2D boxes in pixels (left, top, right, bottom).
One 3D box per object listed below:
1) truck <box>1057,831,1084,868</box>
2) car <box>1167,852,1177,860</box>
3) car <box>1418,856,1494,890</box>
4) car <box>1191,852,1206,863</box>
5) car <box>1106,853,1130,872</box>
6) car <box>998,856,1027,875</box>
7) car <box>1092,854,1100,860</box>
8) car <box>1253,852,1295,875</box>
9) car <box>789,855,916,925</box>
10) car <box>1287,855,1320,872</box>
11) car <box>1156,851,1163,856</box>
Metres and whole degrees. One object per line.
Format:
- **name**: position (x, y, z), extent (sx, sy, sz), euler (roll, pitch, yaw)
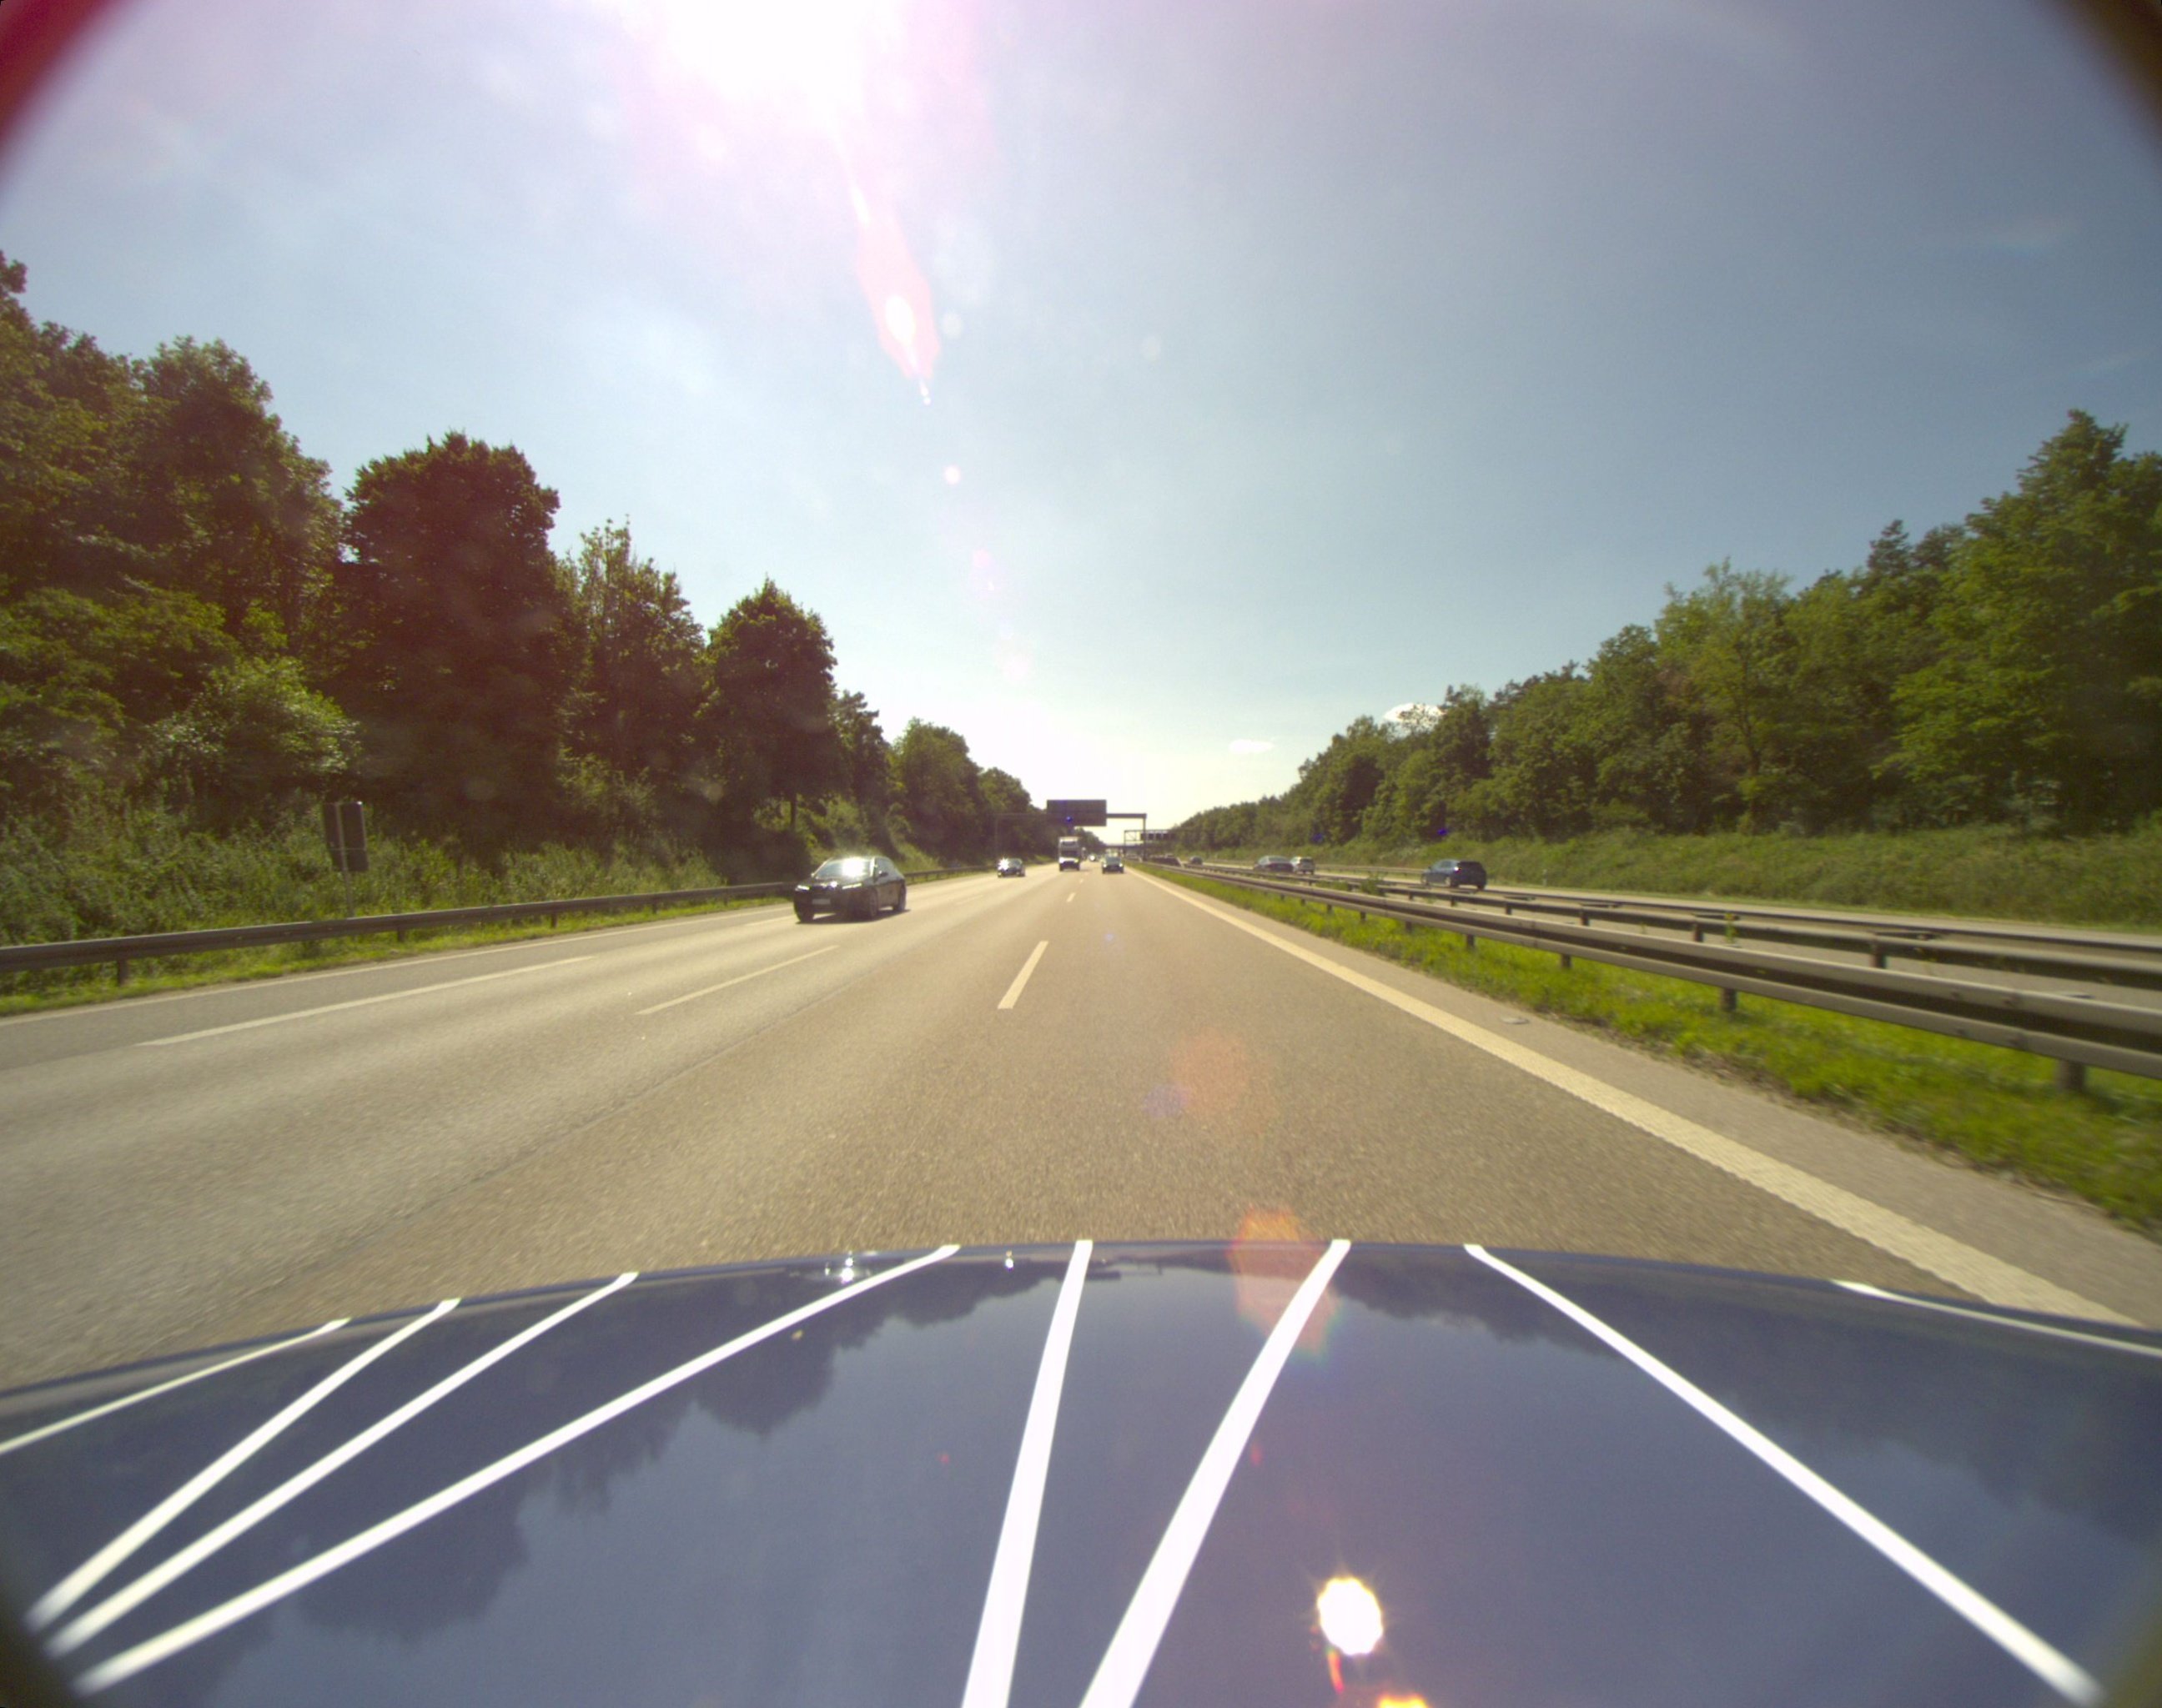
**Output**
- **truck**: position (-1.005, -0.456, 79.318), extent (2.676, 3.661, 6.483), euler (-1, 0, 0)
- **car**: position (19.454, 0.335, 162.577), extent (1.782, 1.624, 5.540), euler (2, 0, 2)
- **car**: position (18.521, 0.892, 37.717), extent (1.599, 1.559, 4.369), euler (2, 0, 0)
- **car**: position (17.966, 0.519, 116.378), extent (1.760, 1.559, 4.430), euler (2, 0, 1)
- **car**: position (3.021, 0.699, 63.133), extent (1.814, 1.483, 3.728), euler (-1, 0, 0)
- **car**: position (-5.426, 0.893, 60.381), extent (1.916, 1.390, 4.138), euler (-1, 0, 0)
- **car**: position (3.559, 0.794, 179.586), extent (1.831, 1.346, 3.679), euler (0, 0, 1)
- **car**: position (11.715, 0.524, 46.330), extent (1.489, 1.348, 4.417), euler (0, 0, 1)
- **car**: position (-6.219, 0.914, 21.339), extent (1.924, 1.659, 4.687), euler (-2, 0, 2)
- **car**: position (20.178, 0.844, 69.197), extent (1.632, 1.483, 4.941), euler (2, 0, 2)
- **car**: position (20.804, -0.146, 201.484), extent (1.599, 1.434, 3.542), euler (2, 0, 0)
